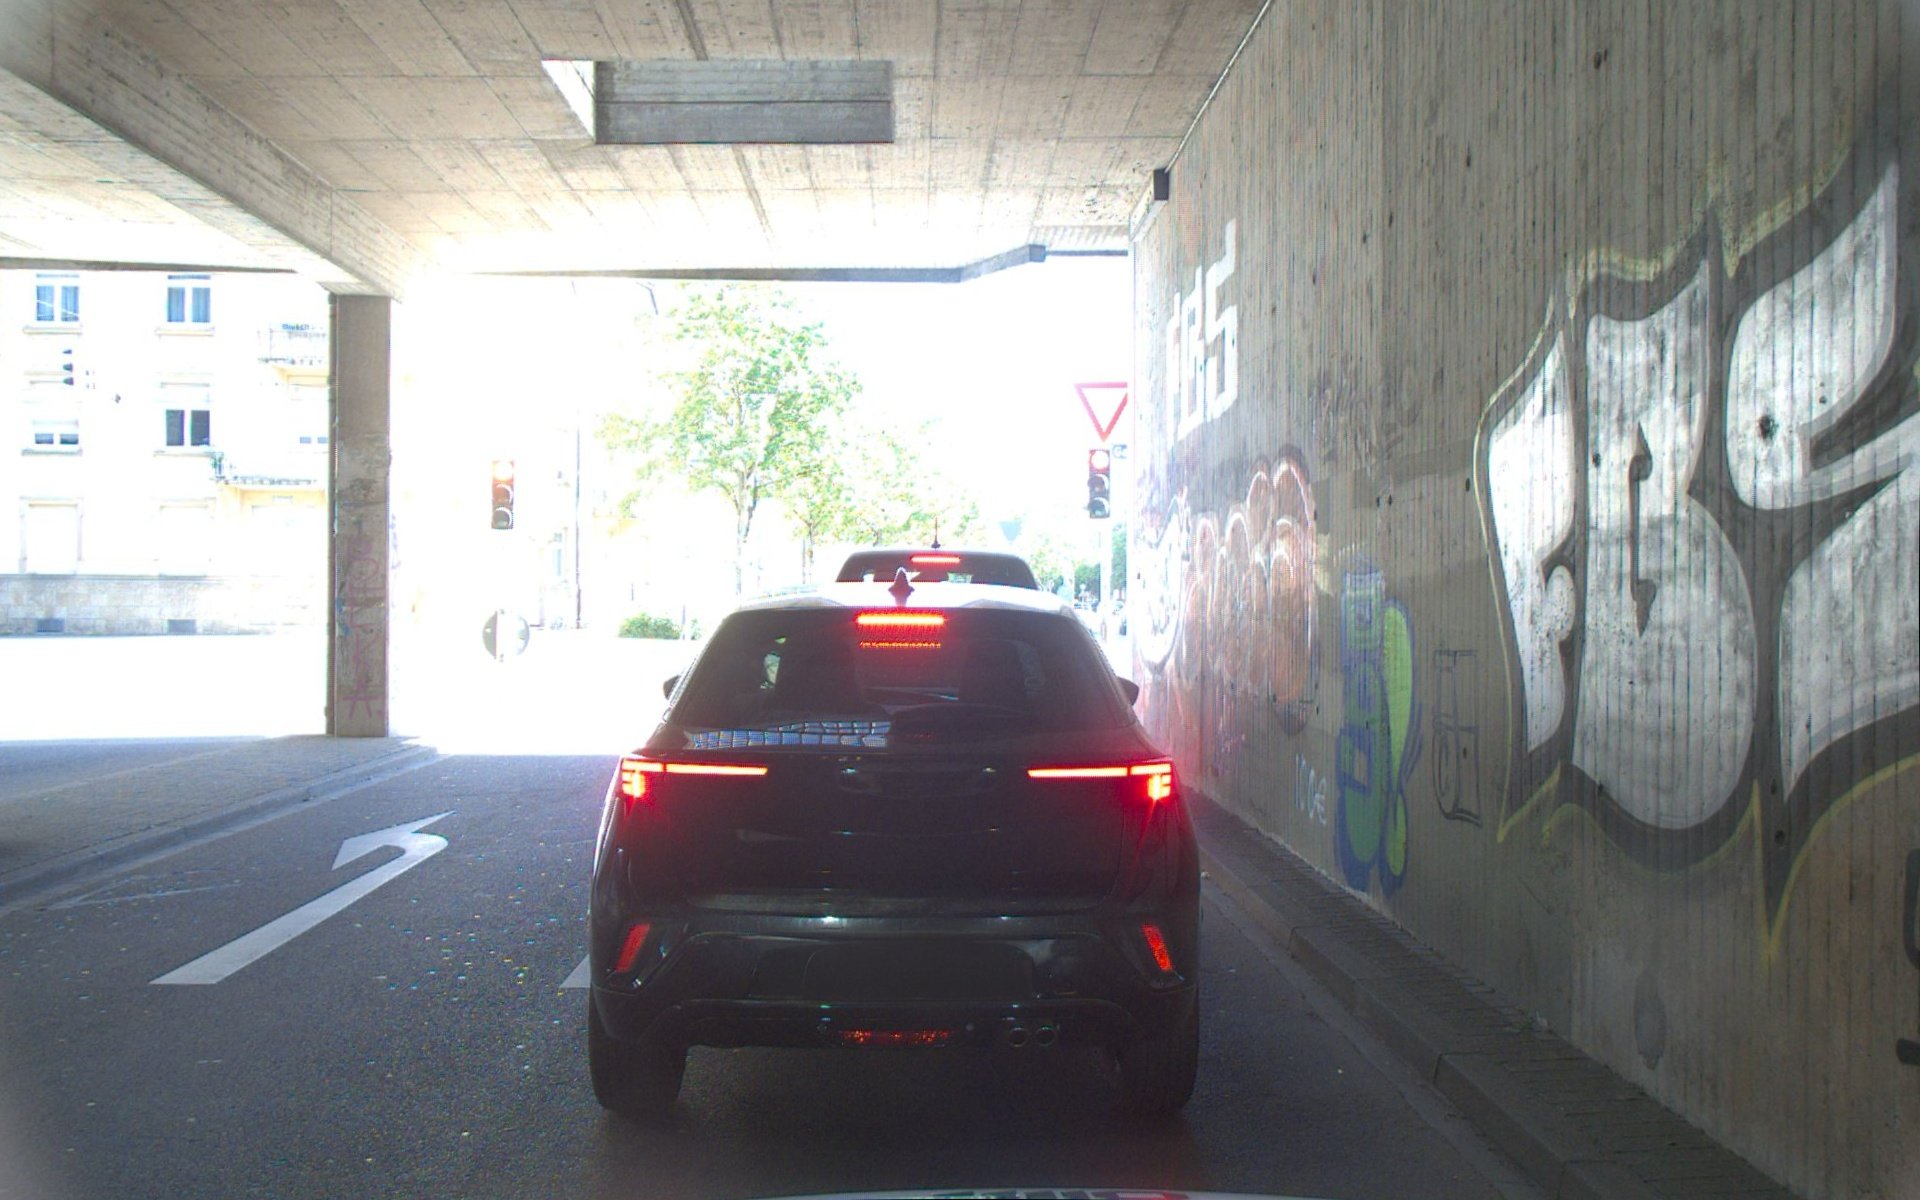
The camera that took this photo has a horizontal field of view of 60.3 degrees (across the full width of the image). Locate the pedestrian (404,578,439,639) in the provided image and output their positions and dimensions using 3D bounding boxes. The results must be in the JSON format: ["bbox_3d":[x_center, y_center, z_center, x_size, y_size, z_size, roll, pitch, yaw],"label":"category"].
[{"bbox_3d":[-15.568,0.239,47.799,0.610,1.734,0.723,1,-1,19],"label":"pedestrian"}]

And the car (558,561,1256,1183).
[{"bbox_3d":[-0.144,0.671,6.133,1.718,1.525,4.000,1,0,-1],"label":"car"}]

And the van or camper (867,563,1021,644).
[{"bbox_3d":[-0.384,0.082,43.308,3.795,2.049,2.002,0,0,7],"label":"van or camper"}]

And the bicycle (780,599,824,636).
[{"bbox_3d":[-5.047,0.539,53.040,0.721,1.150,2.027,0,0,16],"label":"bicycle"}]

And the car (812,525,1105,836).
[{"bbox_3d":[-0.030,0.478,12.014,1.749,1.865,3.960,1,0,-1],"label":"car"}]

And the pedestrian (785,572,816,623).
[{"bbox_3d":[-5.110,-0.077,53.046,0.720,1.612,0.891,1,-1,15],"label":"pedestrian"}]

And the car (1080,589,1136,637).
[{"bbox_3d":[5.395,0.455,60.830,1.951,1.670,4.595,0,0,4],"label":"car"}]
